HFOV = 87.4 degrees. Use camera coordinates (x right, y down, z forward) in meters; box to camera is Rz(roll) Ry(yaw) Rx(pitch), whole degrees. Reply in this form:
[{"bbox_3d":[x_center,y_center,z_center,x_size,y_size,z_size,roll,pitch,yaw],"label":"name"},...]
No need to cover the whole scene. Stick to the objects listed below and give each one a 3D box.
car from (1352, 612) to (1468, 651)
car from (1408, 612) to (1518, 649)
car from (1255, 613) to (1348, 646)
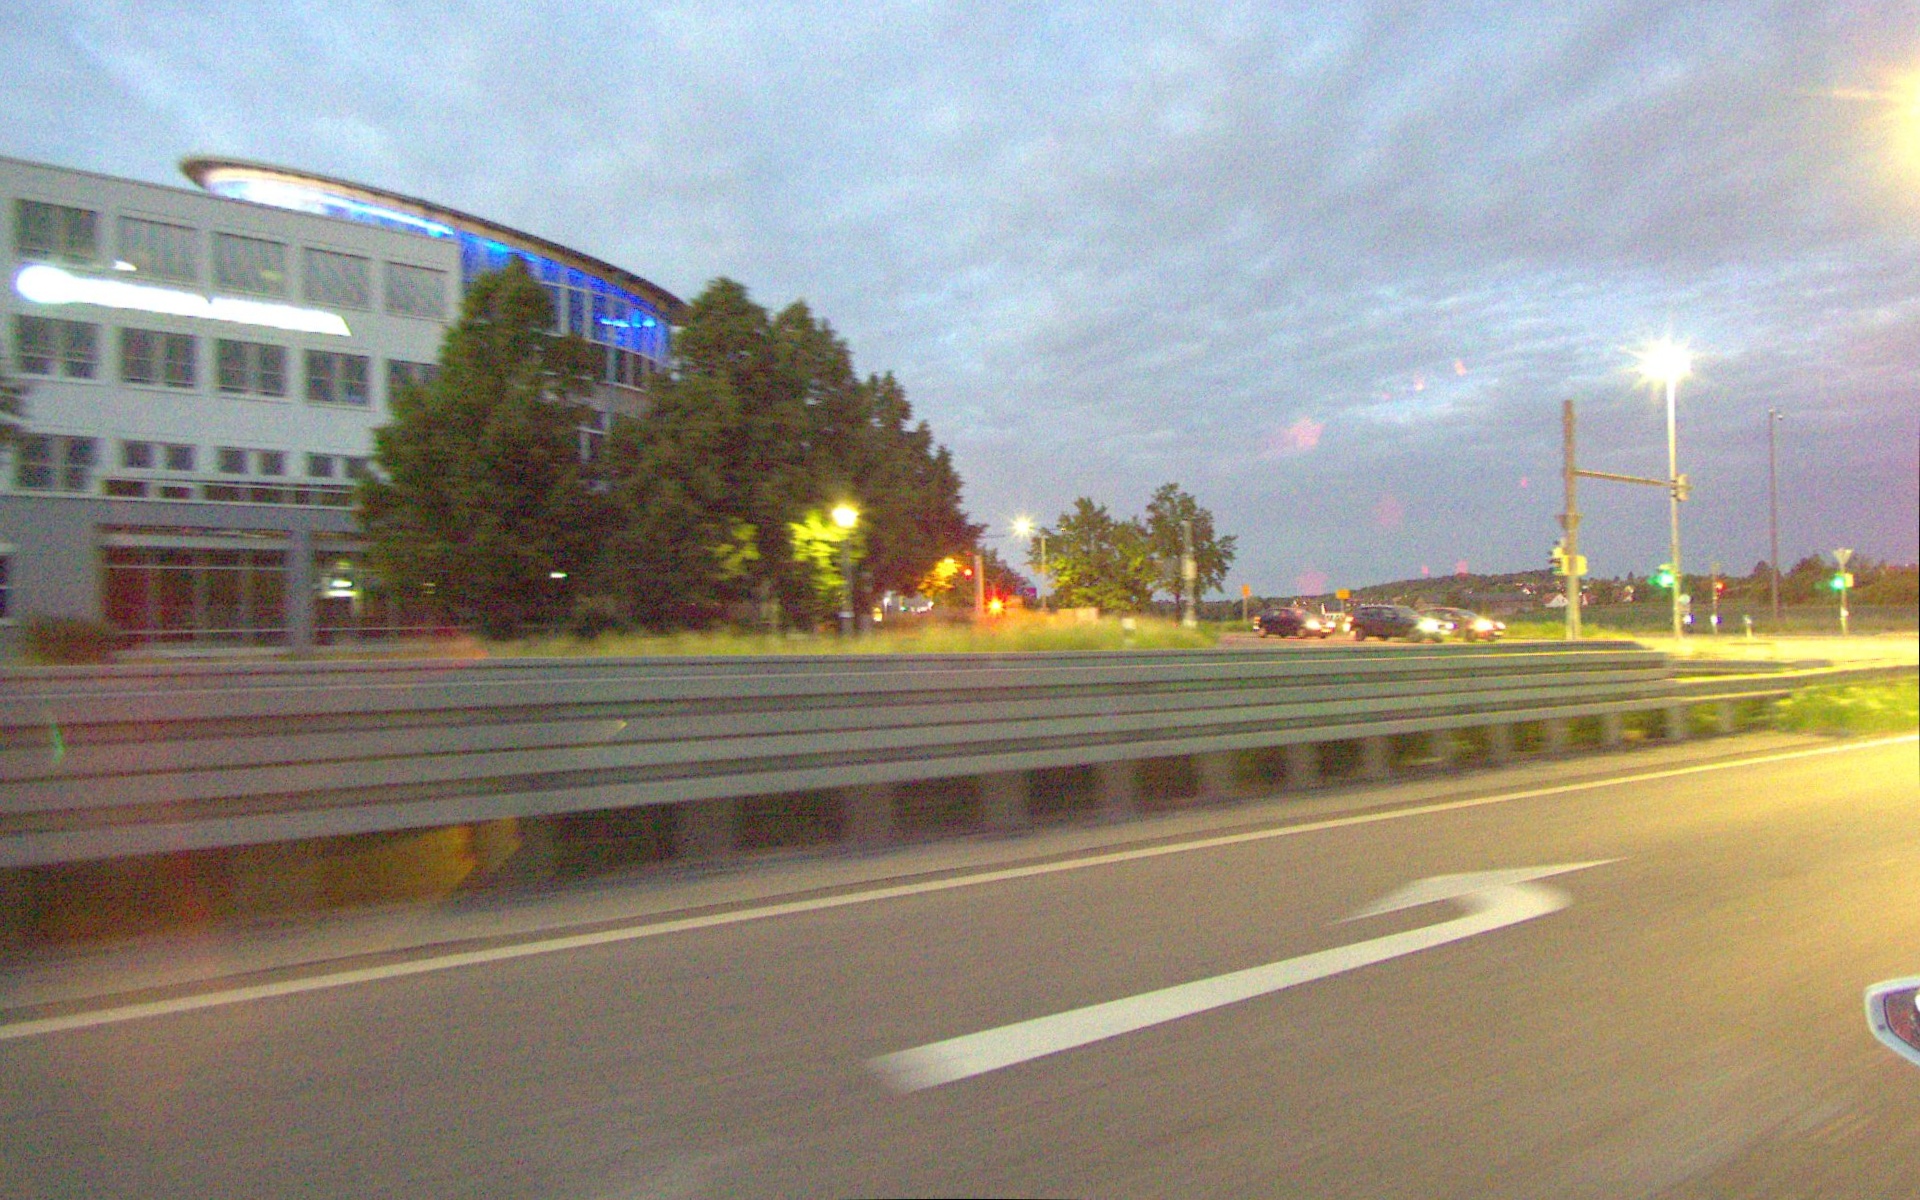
[{"bbox_3d":[18.875,1.292,42.329,1.709,1.558,4.293,1,-1,-30],"label":"car"},{"bbox_3d":[21.928,1.317,43.918,1.710,1.558,4.020,1,-2,-31],"label":"car"},{"bbox_3d":[16.229,1.396,47.867,1.712,1.493,3.962,1,-2,-34],"label":"car"}]
